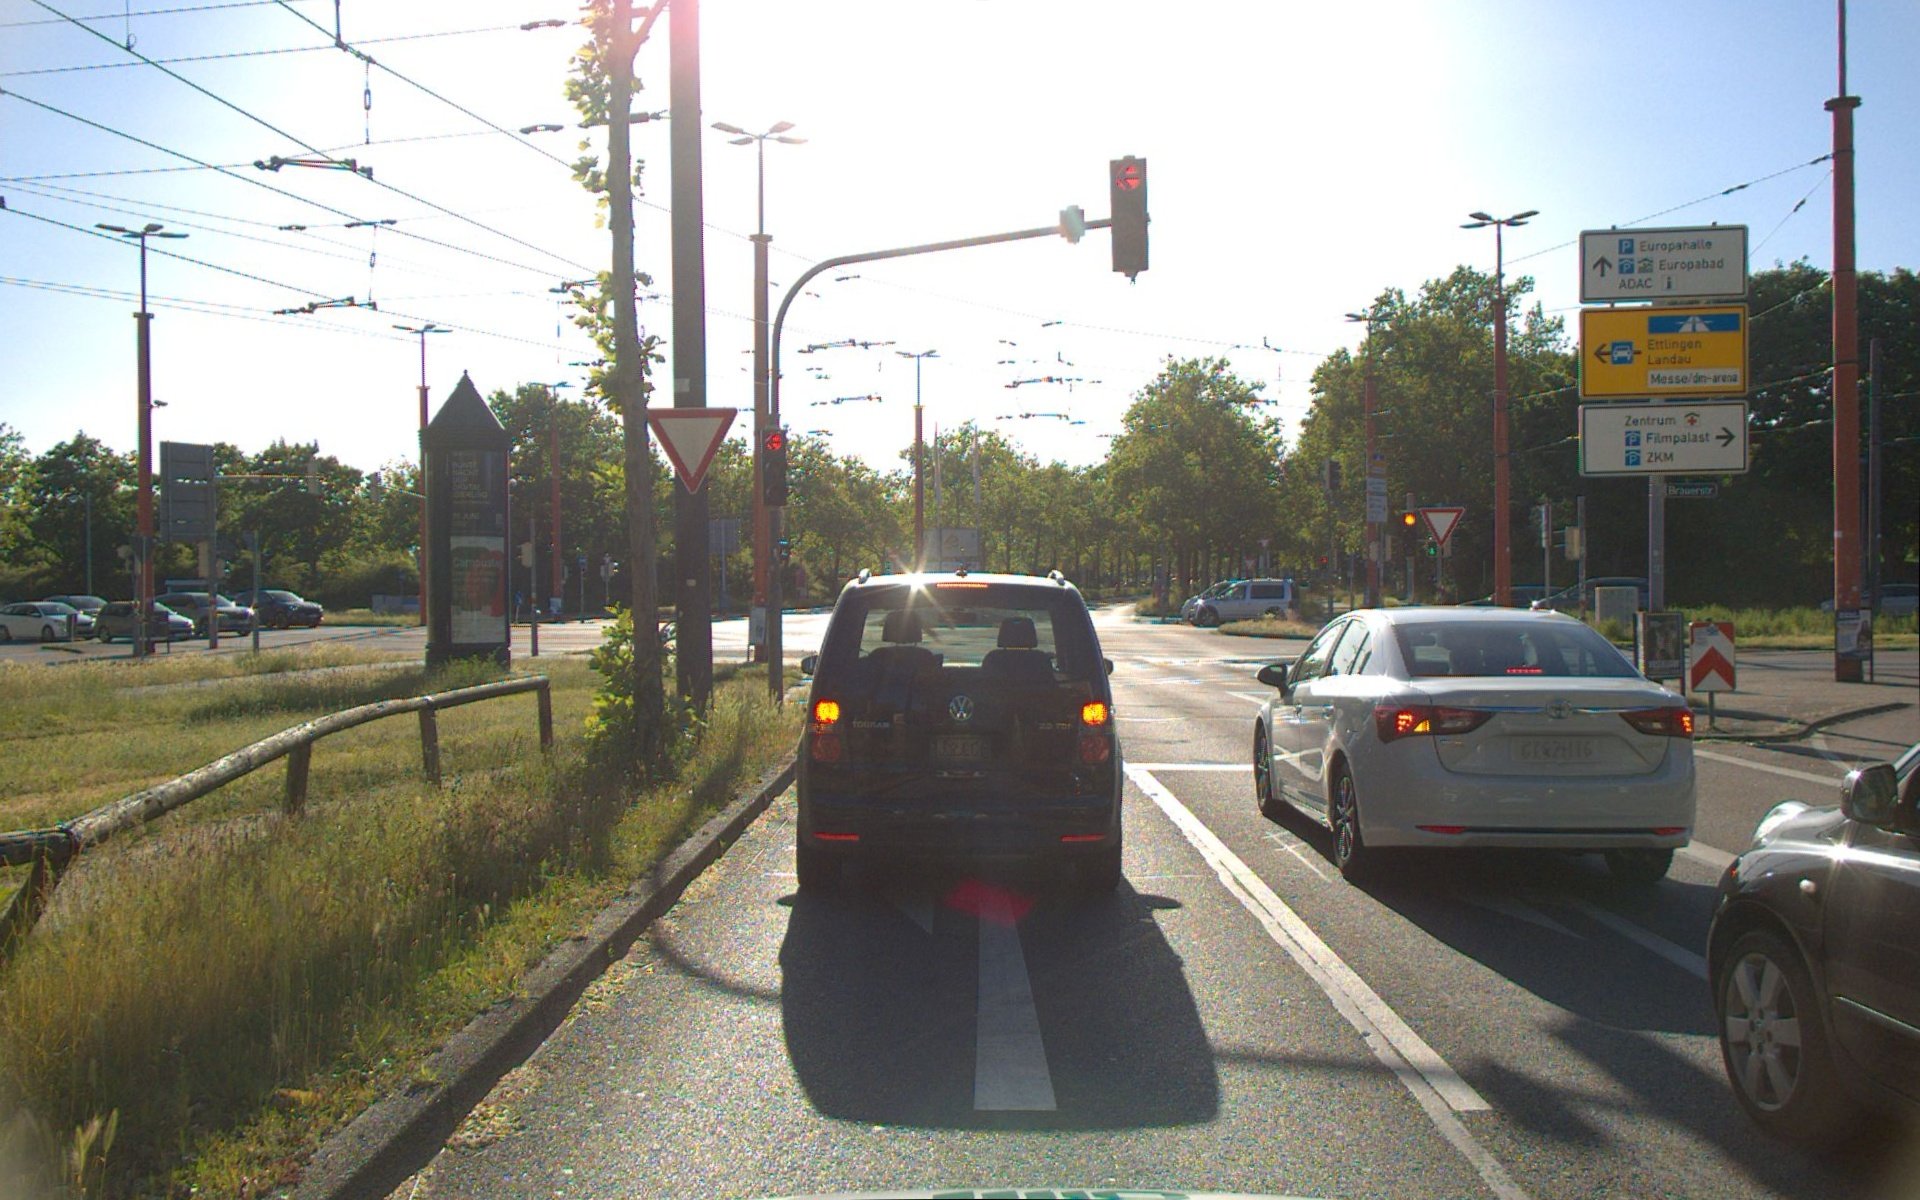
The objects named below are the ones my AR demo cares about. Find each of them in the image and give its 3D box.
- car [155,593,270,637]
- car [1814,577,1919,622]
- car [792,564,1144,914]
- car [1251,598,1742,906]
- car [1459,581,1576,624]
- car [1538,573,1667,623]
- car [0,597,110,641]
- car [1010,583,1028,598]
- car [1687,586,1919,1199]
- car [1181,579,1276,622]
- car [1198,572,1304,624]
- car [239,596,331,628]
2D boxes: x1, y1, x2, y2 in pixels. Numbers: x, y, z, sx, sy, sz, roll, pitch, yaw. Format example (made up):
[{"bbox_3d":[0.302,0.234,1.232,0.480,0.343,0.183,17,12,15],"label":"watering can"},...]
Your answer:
[{"bbox_3d":[-28.970,0.555,64.079,3.907,1.673,1.999,0,0,24],"label":"car"},{"bbox_3d":[31.899,-0.005,57.464,3.887,1.466,1.685,1,0,27],"label":"car"},{"bbox_3d":[0.002,0.657,9.802,1.666,1.650,3.896,0,0,-1],"label":"car"},{"bbox_3d":[2.976,0.733,10.129,1.685,1.463,4.198,1,0,1],"label":"car"},{"bbox_3d":[21.325,0.086,63.226,4.040,1.537,1.821,1,0,26],"label":"car"},{"bbox_3d":[22.825,-0.059,58.767,4.097,1.673,1.758,1,0,26],"label":"car"},{"bbox_3d":[-34.685,0.717,63.129,4.091,1.640,1.867,0,0,25],"label":"car"},{"bbox_3d":[6.941,-1.117,194.415,1.874,1.664,4.003,1,0,6],"label":"car"},{"bbox_3d":[3.182,0.744,3.566,1.620,1.526,3.614,1,0,0],"label":"car"},{"bbox_3d":[11.097,0.016,68.358,3.570,1.684,1.679,1,0,25],"label":"car"},{"bbox_3d":[11.335,-0.072,64.466,3.754,1.923,1.763,1,0,22],"label":"car"},{"bbox_3d":[-29.242,0.502,71.652,3.913,1.353,1.694,0,0,31],"label":"car"}]
